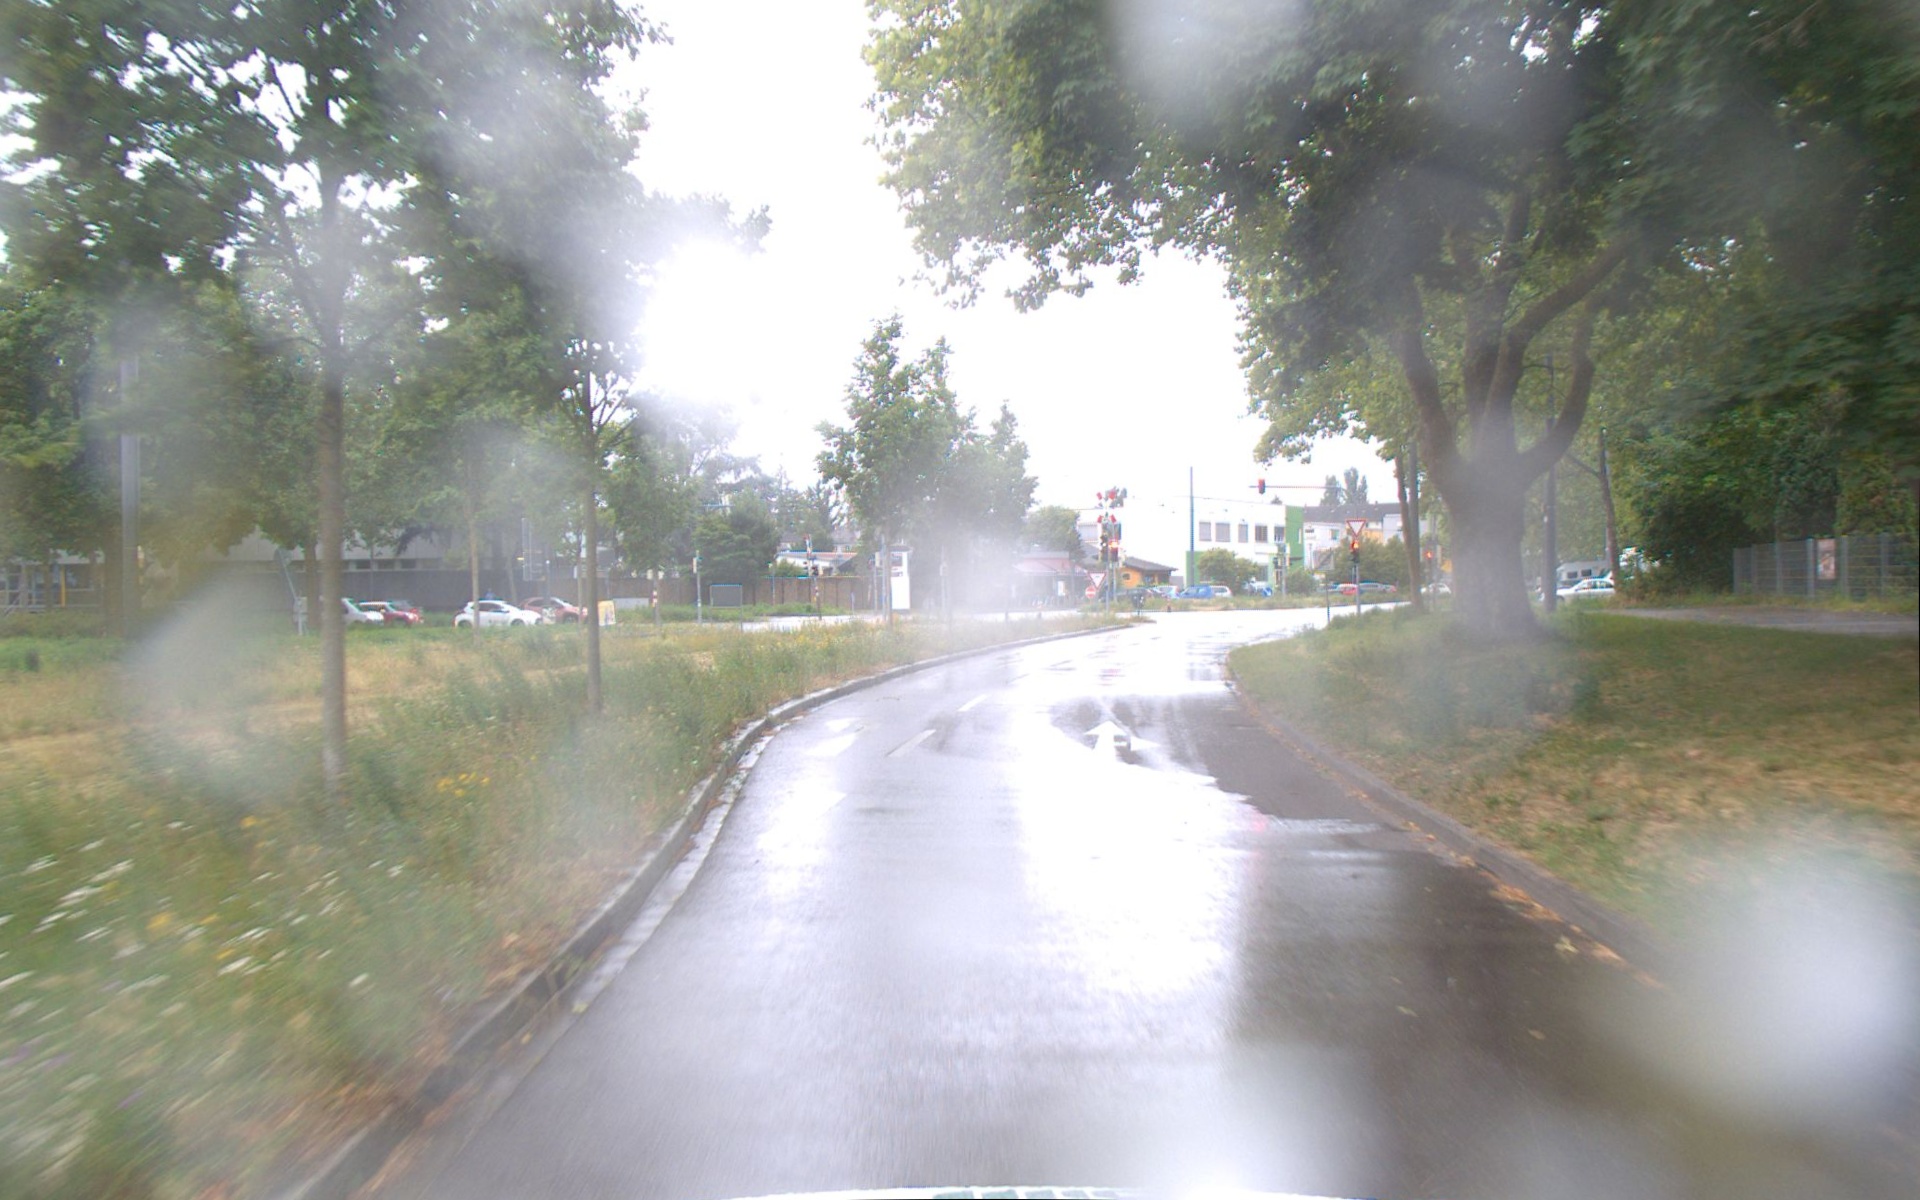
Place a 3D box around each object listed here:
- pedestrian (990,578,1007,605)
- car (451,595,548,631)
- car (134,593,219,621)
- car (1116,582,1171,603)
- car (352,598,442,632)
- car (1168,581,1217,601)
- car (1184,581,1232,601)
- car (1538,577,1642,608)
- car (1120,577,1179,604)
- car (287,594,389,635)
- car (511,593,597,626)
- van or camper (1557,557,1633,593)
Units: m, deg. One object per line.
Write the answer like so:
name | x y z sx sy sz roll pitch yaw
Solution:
pedestrian | 2.595 -0.550 111.373 0.792 1.794 0.900 -1 0 -30
car | -21.505 0.608 77.311 3.980 1.525 1.653 -2 0 3
car | -43.205 0.375 91.280 3.905 1.445 1.538 -1 1 0
car | 13.206 -0.540 118.881 3.671 1.467 1.763 -1 0 18
car | -27.569 0.718 81.054 3.827 1.525 1.652 -1 1 0
car | 17.762 -0.678 126.360 3.670 1.467 1.764 -2 0 9
car | 19.412 -0.734 129.317 3.670 1.467 1.764 -2 0 9
car | 29.875 -0.359 78.529 4.416 1.414 1.646 -1 0 12
car | 14.021 -0.701 122.258 4.050 1.892 1.673 -2 0 22
car | -29.299 0.668 77.936 4.121 1.827 1.653 -1 1 3
car | -19.892 0.471 81.047 3.738 1.525 1.653 -2 0 3
van or camper | 49.029 -1.965 127.719 5.128 2.744 2.237 1 2 34
